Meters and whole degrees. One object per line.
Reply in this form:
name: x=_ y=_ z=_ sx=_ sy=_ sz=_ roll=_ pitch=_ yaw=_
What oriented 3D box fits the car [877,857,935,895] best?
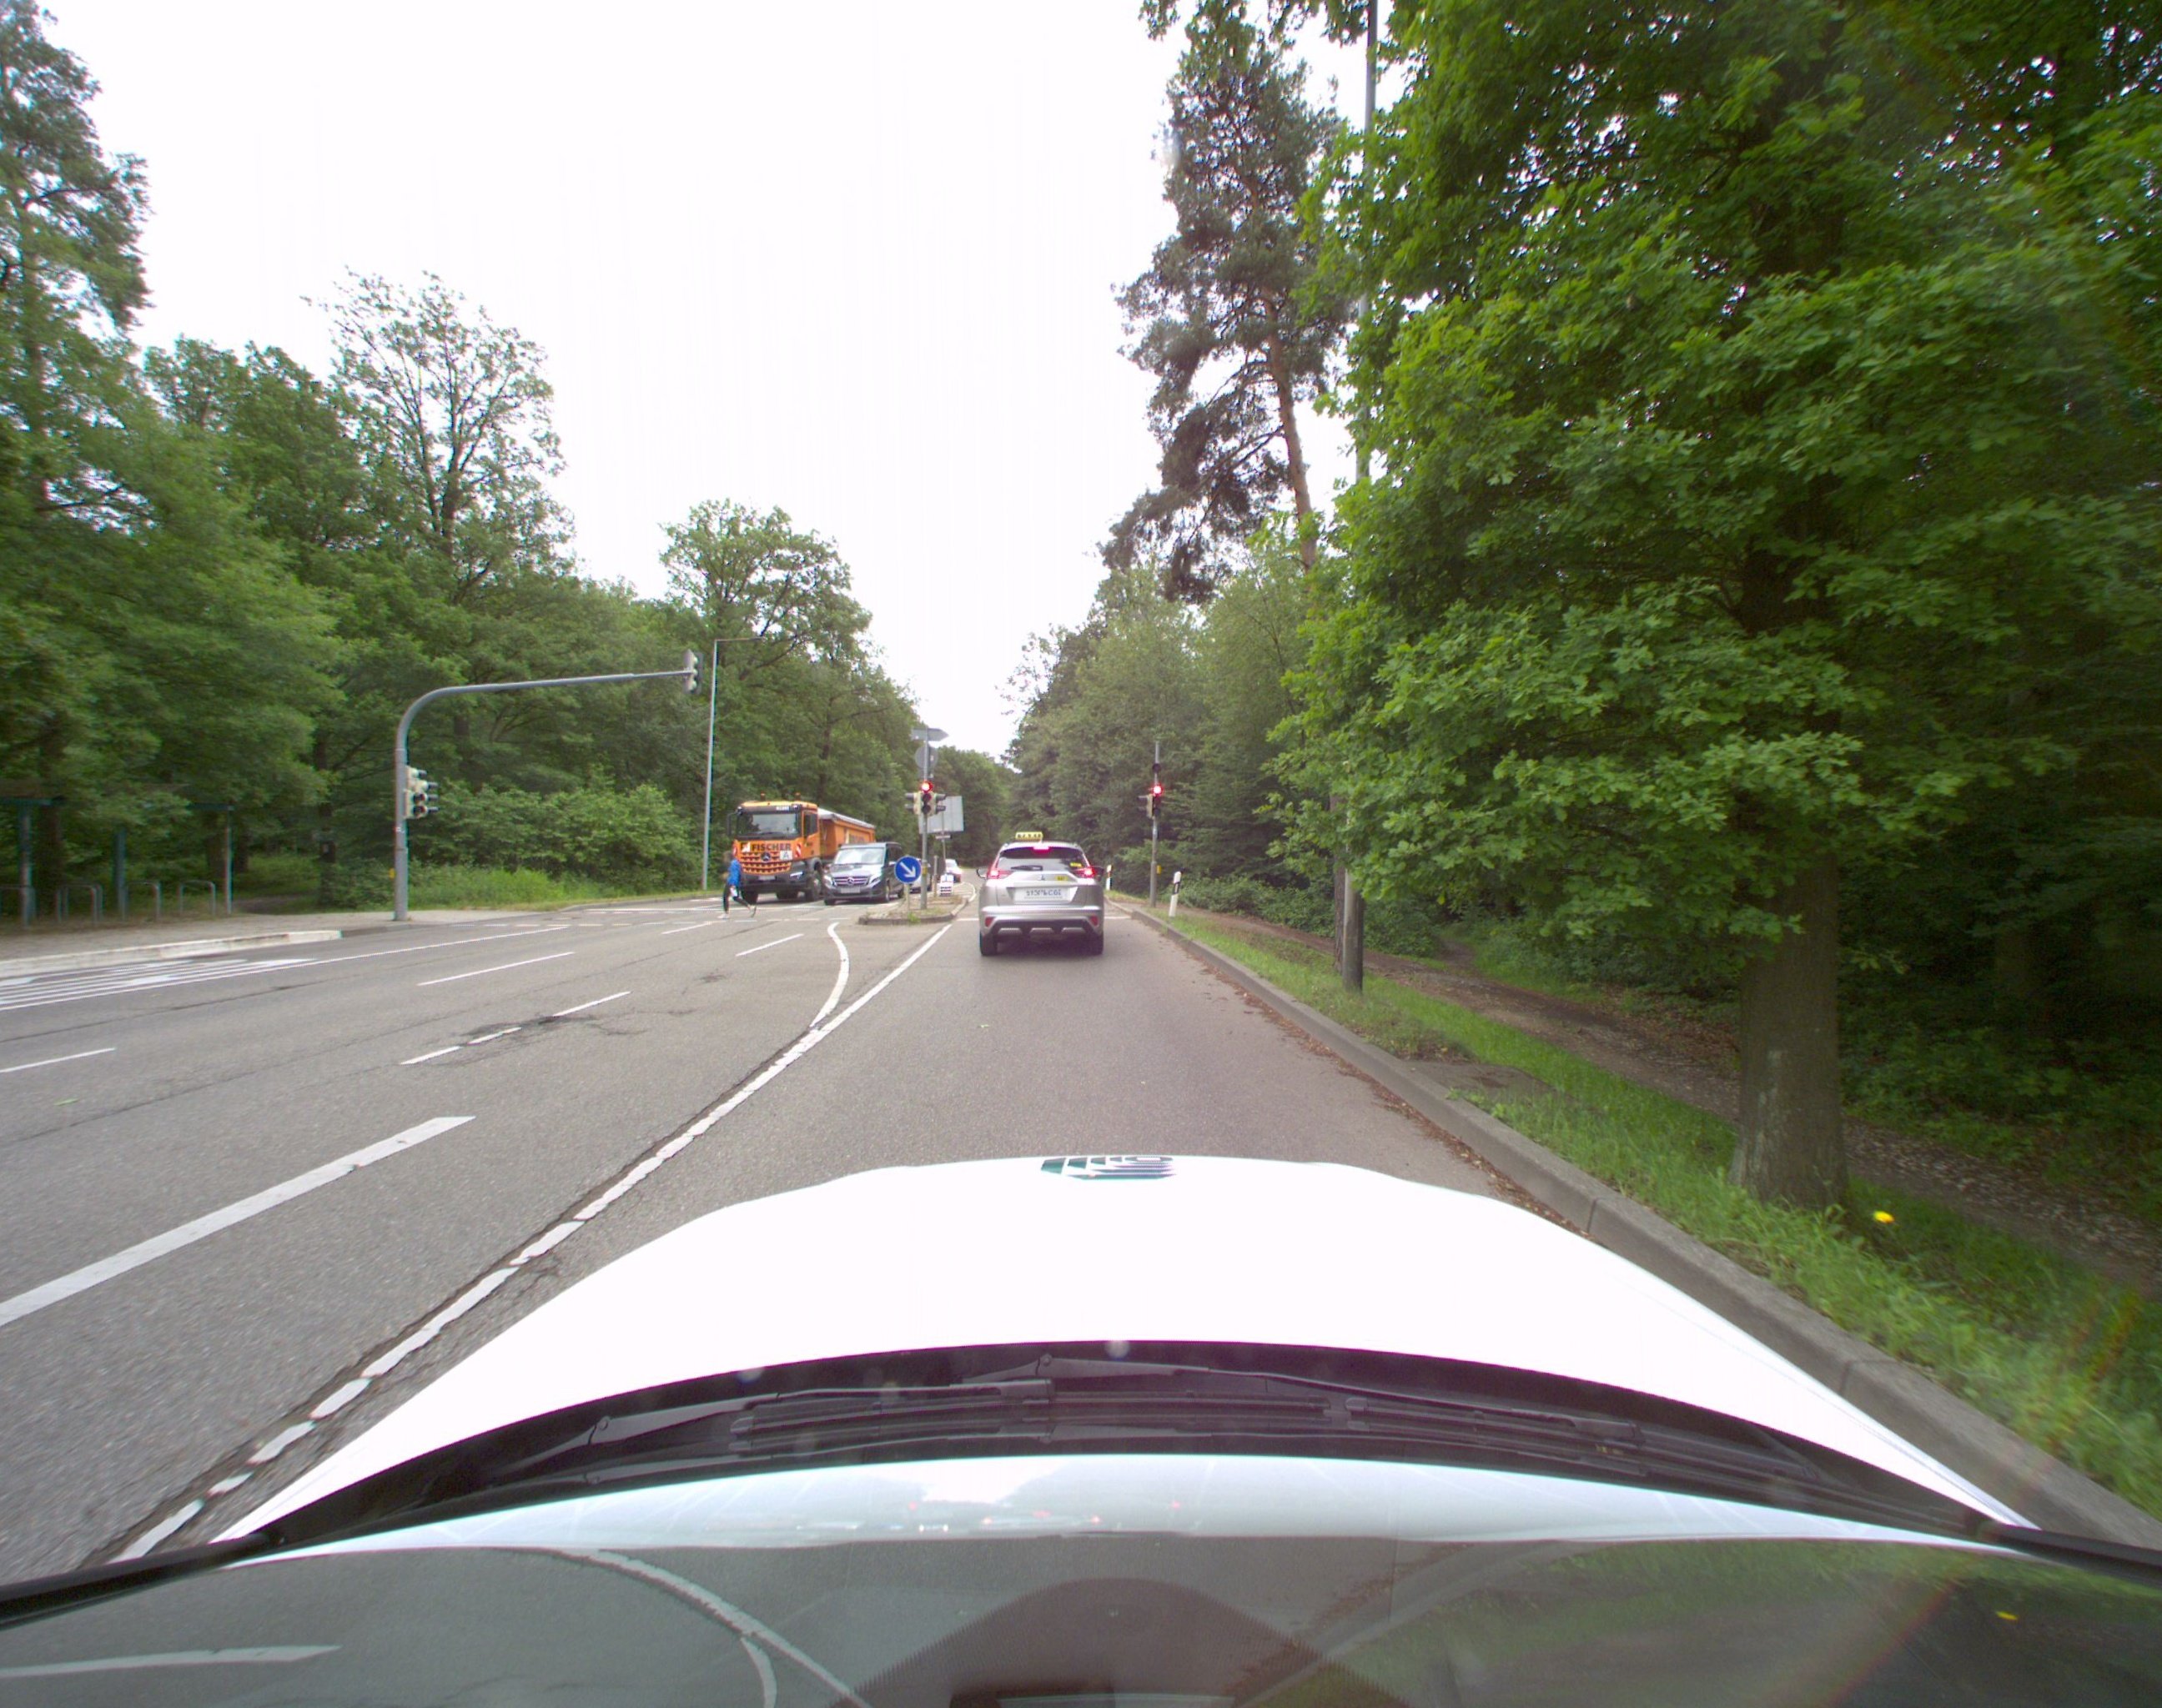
car: x=-7.143 y=0.865 z=33.527 sx=1.608 sy=1.321 sz=3.719 roll=-3 pitch=1 yaw=-2

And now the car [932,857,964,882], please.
car: x=-8.745 y=1.008 z=53.646 sx=1.809 sy=1.508 sz=3.713 roll=-3 pitch=0 yaw=-6

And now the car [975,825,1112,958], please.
car: x=-0.631 y=0.500 z=12.968 sx=1.843 sy=1.780 sz=3.994 roll=0 pitch=0 yaw=-4

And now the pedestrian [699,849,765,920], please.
pedestrian: x=-8.403 y=0.719 z=19.661 sx=1.042 sy=1.649 sz=1.070 roll=-1 pitch=1 yaw=3

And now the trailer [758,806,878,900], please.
trailer: x=-10.441 y=0.020 z=33.359 sx=2.734 sy=3.318 sz=8.554 roll=-1 pitch=-1 yaw=-5

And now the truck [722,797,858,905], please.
truck: x=-10.095 y=-0.044 z=29.113 sx=2.734 sy=3.318 sz=7.147 roll=-1 pitch=-1 yaw=-5

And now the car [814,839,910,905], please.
car: x=-6.945 y=0.547 z=26.348 sx=1.989 sy=1.893 sz=4.832 roll=-2 pitch=0 yaw=-3
